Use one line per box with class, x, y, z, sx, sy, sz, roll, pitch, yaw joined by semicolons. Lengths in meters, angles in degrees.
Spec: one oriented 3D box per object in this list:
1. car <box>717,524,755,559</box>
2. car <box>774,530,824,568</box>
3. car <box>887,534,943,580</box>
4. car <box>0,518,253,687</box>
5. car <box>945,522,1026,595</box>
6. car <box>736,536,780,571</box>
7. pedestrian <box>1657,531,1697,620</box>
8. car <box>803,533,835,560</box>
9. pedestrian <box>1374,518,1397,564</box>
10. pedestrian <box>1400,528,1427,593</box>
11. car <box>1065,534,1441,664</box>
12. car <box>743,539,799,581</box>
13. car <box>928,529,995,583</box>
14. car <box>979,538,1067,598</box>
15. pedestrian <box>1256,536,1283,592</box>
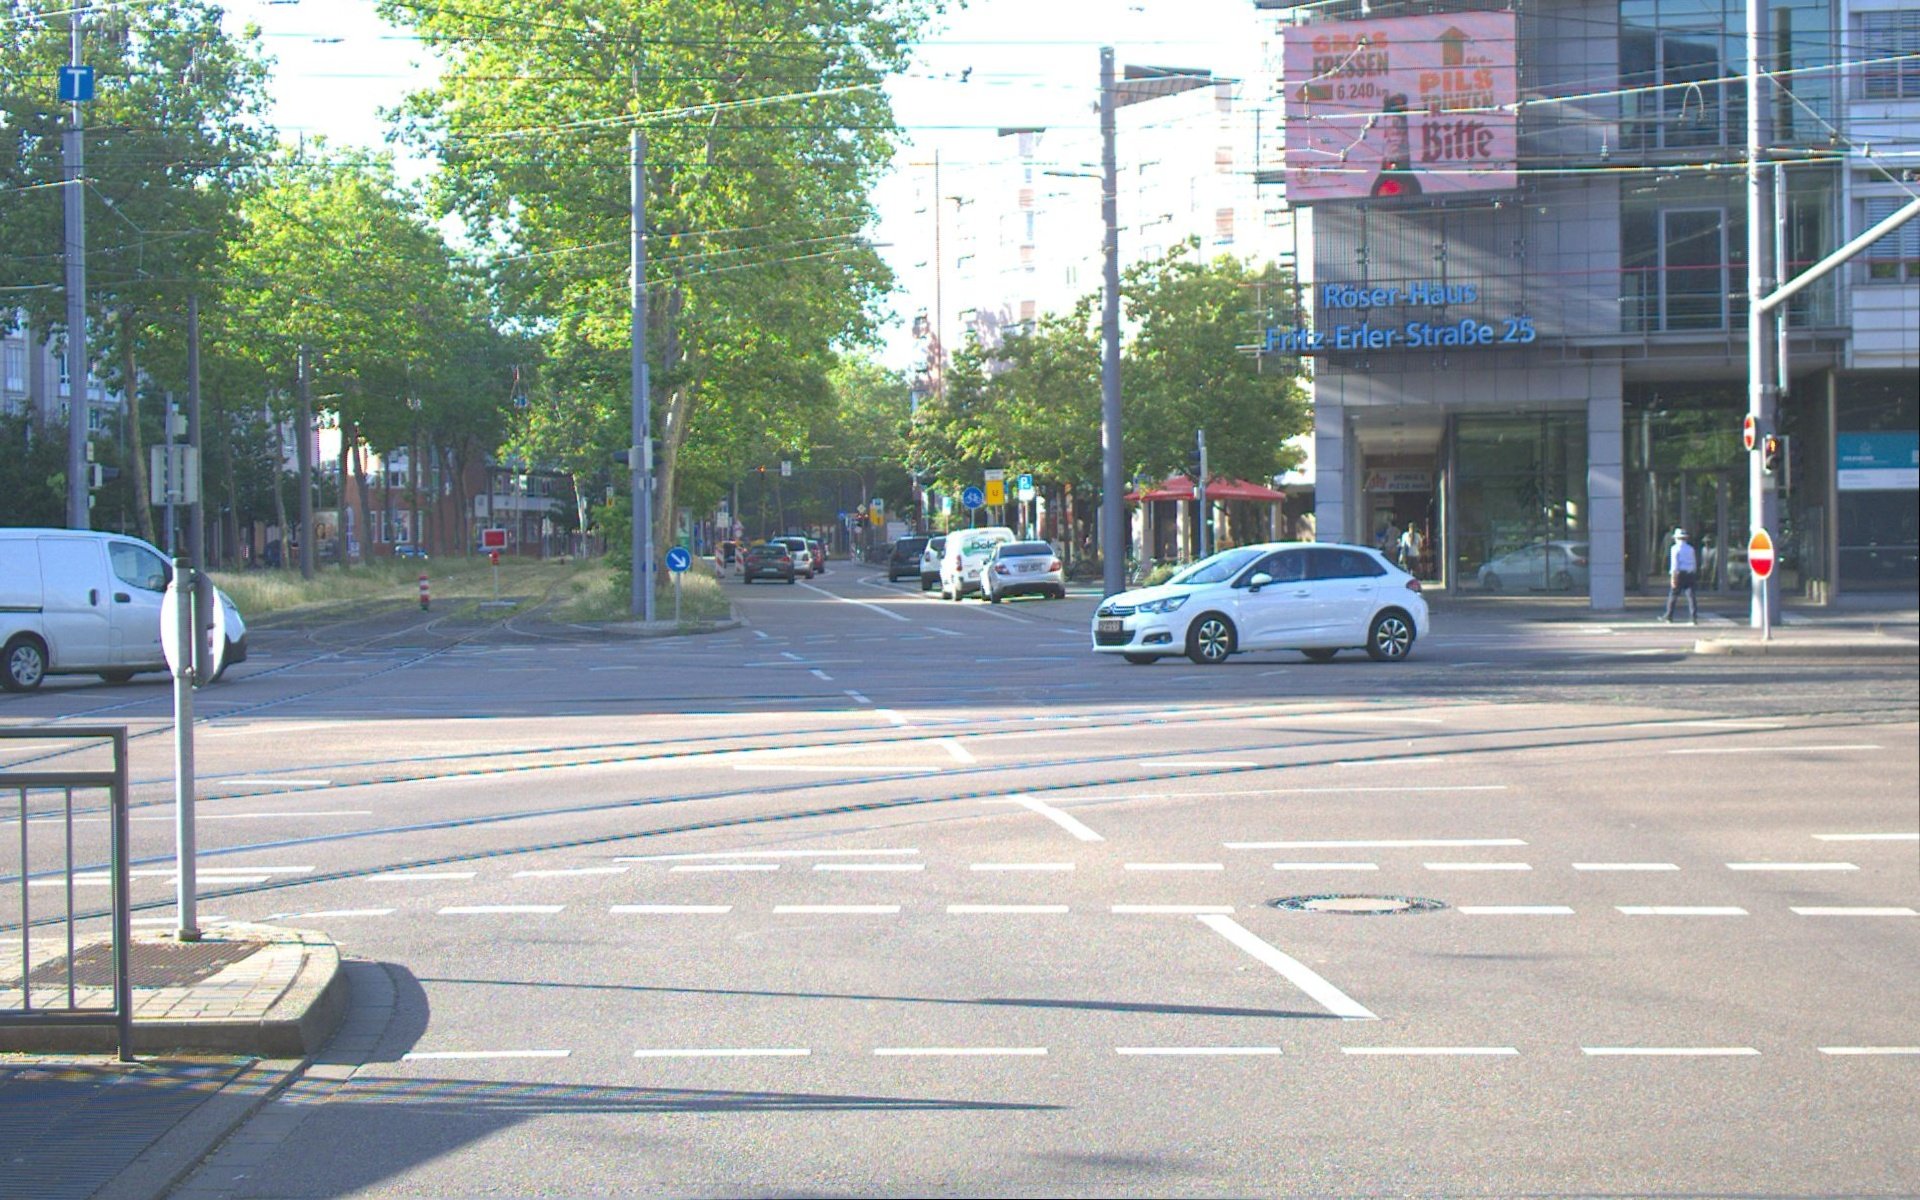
car;-12.983;-3.409;199.449;1.993;2.007;4.000;-1;1;-1
car;-6.303;-2.007;135.198;1.797;1.437;4.000;-1;1;-1
car;-1.648;-1.598;126.667;1.993;1.612;4.000;-1;1;0
car;-10.475;0.000;39.759;1.759;1.860;4.516;0;1;35
car;0.643;-1.097;89.571;1.993;1.853;4.000;-1;1;-1
car;-8.619;-1.970;146.875;1.797;1.437;4.000;1;1;-2
pedestrian;12.308;-0.422;59.035;0.612;1.502;0.579;-1;1;7
car;-9.333;-3.567;228.281;1.993;1.744;4.000;-1;1;-1
pedestrian;15.700;-2.178;126.964;0.744;1.708;0.612;-1;1;-1
pedestrian;10.509;-0.912;79.703;0.612;1.502;0.579;-1;1;7
car;3.616;-0.040;42.284;4.294;1.483;1.762;-1;1;-26
car;-6.692;-1.435;122.081;1.797;1.437;4.000;-1;1;-1
car;0.031;-1.360;105.216;1.993;1.612;4.000;-1;1;0
car;1.487;-0.788;82.776;1.993;1.371;4.000;-1;1;-1
pedestrian;9.454;-1.102;104.999;0.744;1.708;0.612;-1;1;-1
